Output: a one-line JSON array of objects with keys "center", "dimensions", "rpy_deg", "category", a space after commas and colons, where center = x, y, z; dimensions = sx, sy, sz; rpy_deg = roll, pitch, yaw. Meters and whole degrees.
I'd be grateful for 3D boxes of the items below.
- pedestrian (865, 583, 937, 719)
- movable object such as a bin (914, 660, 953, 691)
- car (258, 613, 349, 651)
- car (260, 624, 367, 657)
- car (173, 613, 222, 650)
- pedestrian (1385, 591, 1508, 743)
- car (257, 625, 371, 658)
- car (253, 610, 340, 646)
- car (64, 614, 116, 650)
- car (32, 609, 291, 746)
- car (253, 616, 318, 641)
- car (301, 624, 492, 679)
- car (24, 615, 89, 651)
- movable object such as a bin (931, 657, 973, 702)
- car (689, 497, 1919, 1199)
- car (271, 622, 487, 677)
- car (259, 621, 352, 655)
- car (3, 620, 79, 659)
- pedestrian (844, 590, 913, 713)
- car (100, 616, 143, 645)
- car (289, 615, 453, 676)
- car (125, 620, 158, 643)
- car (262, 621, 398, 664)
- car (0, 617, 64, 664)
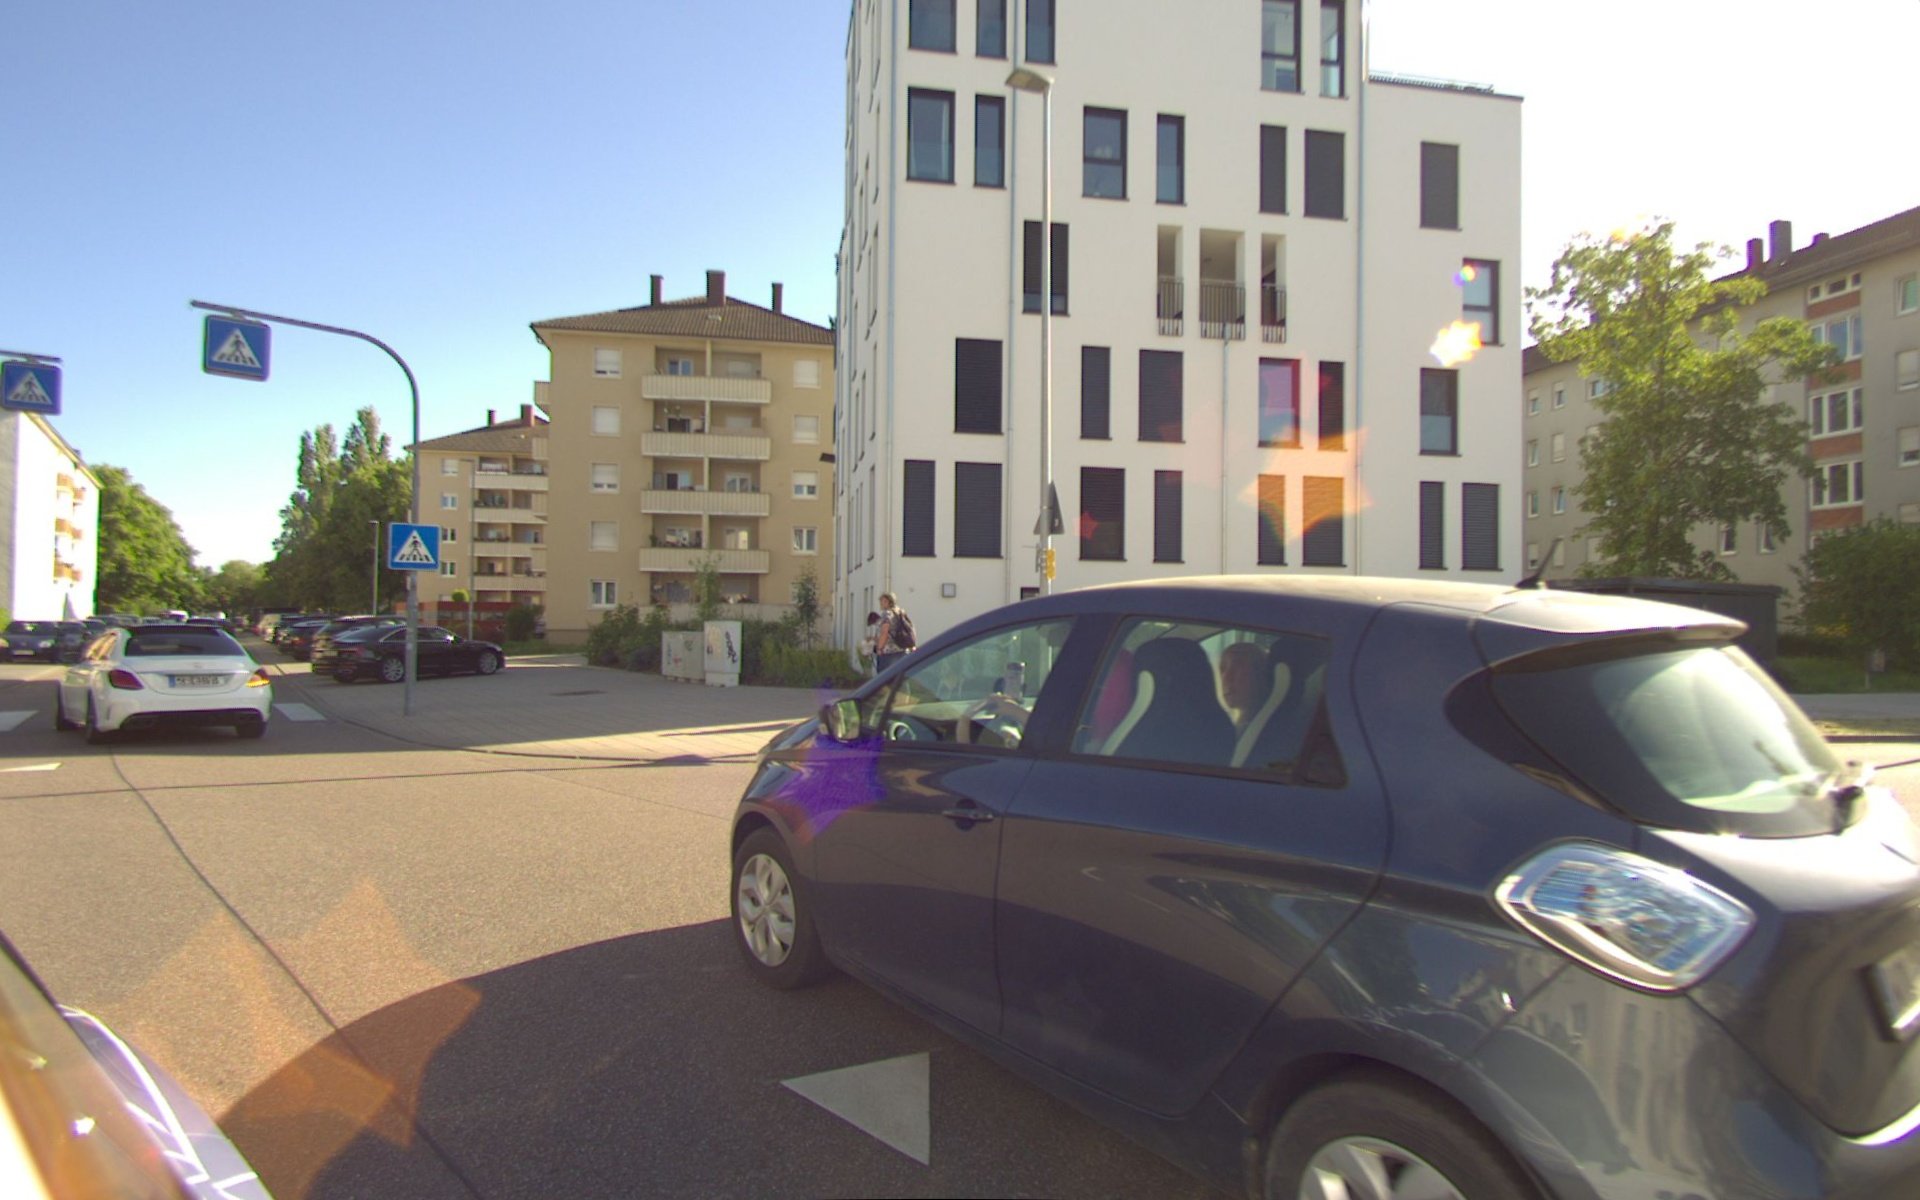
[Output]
[{"center": [-0.862, 0.716, 14.705], "dimensions": [0.777, 1.899, 0.849], "rpy_deg": [1, 0, -21], "category": "pedestrian"}, {"center": [-0.493, 1.406, 18.799], "dimensions": [0.678, 0.546, 0.271], "rpy_deg": [1, -1, 10], "category": "movable object such as a bin"}, {"center": [-37.743, 1.792, 58.234], "dimensions": [1.995, 2.029, 3.953], "rpy_deg": [2, 1, 35], "category": "car"}, {"center": [-31.401, 1.920, 49.289], "dimensions": [1.990, 1.264, 3.964], "rpy_deg": [2, 2, 27], "category": "car"}, {"center": [-37.039, 1.491, 49.105], "dimensions": [1.715, 1.541, 4.121], "rpy_deg": [1, 1, -39], "category": "car"}, {"center": [5.750, 0.772, 11.995], "dimensions": [0.963, 1.727, 0.876], "rpy_deg": [1, -2, -14], "category": "pedestrian"}, {"center": [-29.686, 1.855, 46.593], "dimensions": [1.994, 1.320, 3.956], "rpy_deg": [1, 0, 32], "category": "car"}, {"center": [-40.240, 1.691, 61.470], "dimensions": [1.994, 2.029, 3.956], "rpy_deg": [2, 1, 32], "category": "car"}, {"center": [-44.711, 1.629, 52.063], "dimensions": [1.816, 1.770, 4.007], "rpy_deg": [3, -3, -39], "category": "car"}, {"center": [-10.756, 0.978, 13.504], "dimensions": [4.636, 1.516, 1.865], "rpy_deg": [-2, -5, 42], "category": "car"}, {"center": [-52.677, 2.211, 79.071], "dimensions": [3.941, 1.851, 2.002], "rpy_deg": [1, 1, -45], "category": "car"}, {"center": [-16.016, 1.445, 29.050], "dimensions": [1.988, 1.442, 4.526], "rpy_deg": [-1, -2, 24], "category": "car"}, {"center": [-41.837, 1.495, 46.959], "dimensions": [1.968, 1.475, 4.008], "rpy_deg": [-1, 1, -38], "category": "car"}, {"center": [-0.125, 1.310, 16.753], "dimensions": [0.271, 0.685, 0.839], "rpy_deg": [0, -1, 33], "category": "movable object such as a bin"}, {"center": [0.768, 0.634, 3.285], "dimensions": [1.812, 1.515, 4.148], "rpy_deg": [1, 0, -36], "category": "car"}, {"center": [-14.741, 1.217, 25.993], "dimensions": [1.988, 1.176, 4.526], "rpy_deg": [-1, 0, 24], "category": "car"}, {"center": [-36.244, 2.073, 56.107], "dimensions": [1.998, 1.652, 3.947], "rpy_deg": [2, 1, 40], "category": "car"}, {"center": [-35.124, 1.483, 38.766], "dimensions": [1.968, 1.253, 4.007], "rpy_deg": [1, 1, -40], "category": "car"}, {"center": [-1.466, 0.910, 18.192], "dimensions": [0.955, 2.137, 0.767], "rpy_deg": [-1, -1, 33], "category": "pedestrian"}, {"center": [-53.466, 1.936, 64.623], "dimensions": [1.968, 1.707, 4.008], "rpy_deg": [1, 0, -38], "category": "car"}, {"center": [-17.826, 1.319, 30.822], "dimensions": [1.986, 1.664, 3.971], "rpy_deg": [-1, 0, 22], "category": "car"}, {"center": [-65.862, 2.504, 81.503], "dimensions": [1.968, 1.707, 4.008], "rpy_deg": [1, 0, -38], "category": "car"}, {"center": [-24.164, 1.597, 38.943], "dimensions": [1.992, 1.412, 3.960], "rpy_deg": [2, 1, 29], "category": "car"}, {"center": [-31.918, 1.365, 34.500], "dimensions": [1.880, 1.526, 4.004], "rpy_deg": [3, -3, -43], "category": "car"}]
